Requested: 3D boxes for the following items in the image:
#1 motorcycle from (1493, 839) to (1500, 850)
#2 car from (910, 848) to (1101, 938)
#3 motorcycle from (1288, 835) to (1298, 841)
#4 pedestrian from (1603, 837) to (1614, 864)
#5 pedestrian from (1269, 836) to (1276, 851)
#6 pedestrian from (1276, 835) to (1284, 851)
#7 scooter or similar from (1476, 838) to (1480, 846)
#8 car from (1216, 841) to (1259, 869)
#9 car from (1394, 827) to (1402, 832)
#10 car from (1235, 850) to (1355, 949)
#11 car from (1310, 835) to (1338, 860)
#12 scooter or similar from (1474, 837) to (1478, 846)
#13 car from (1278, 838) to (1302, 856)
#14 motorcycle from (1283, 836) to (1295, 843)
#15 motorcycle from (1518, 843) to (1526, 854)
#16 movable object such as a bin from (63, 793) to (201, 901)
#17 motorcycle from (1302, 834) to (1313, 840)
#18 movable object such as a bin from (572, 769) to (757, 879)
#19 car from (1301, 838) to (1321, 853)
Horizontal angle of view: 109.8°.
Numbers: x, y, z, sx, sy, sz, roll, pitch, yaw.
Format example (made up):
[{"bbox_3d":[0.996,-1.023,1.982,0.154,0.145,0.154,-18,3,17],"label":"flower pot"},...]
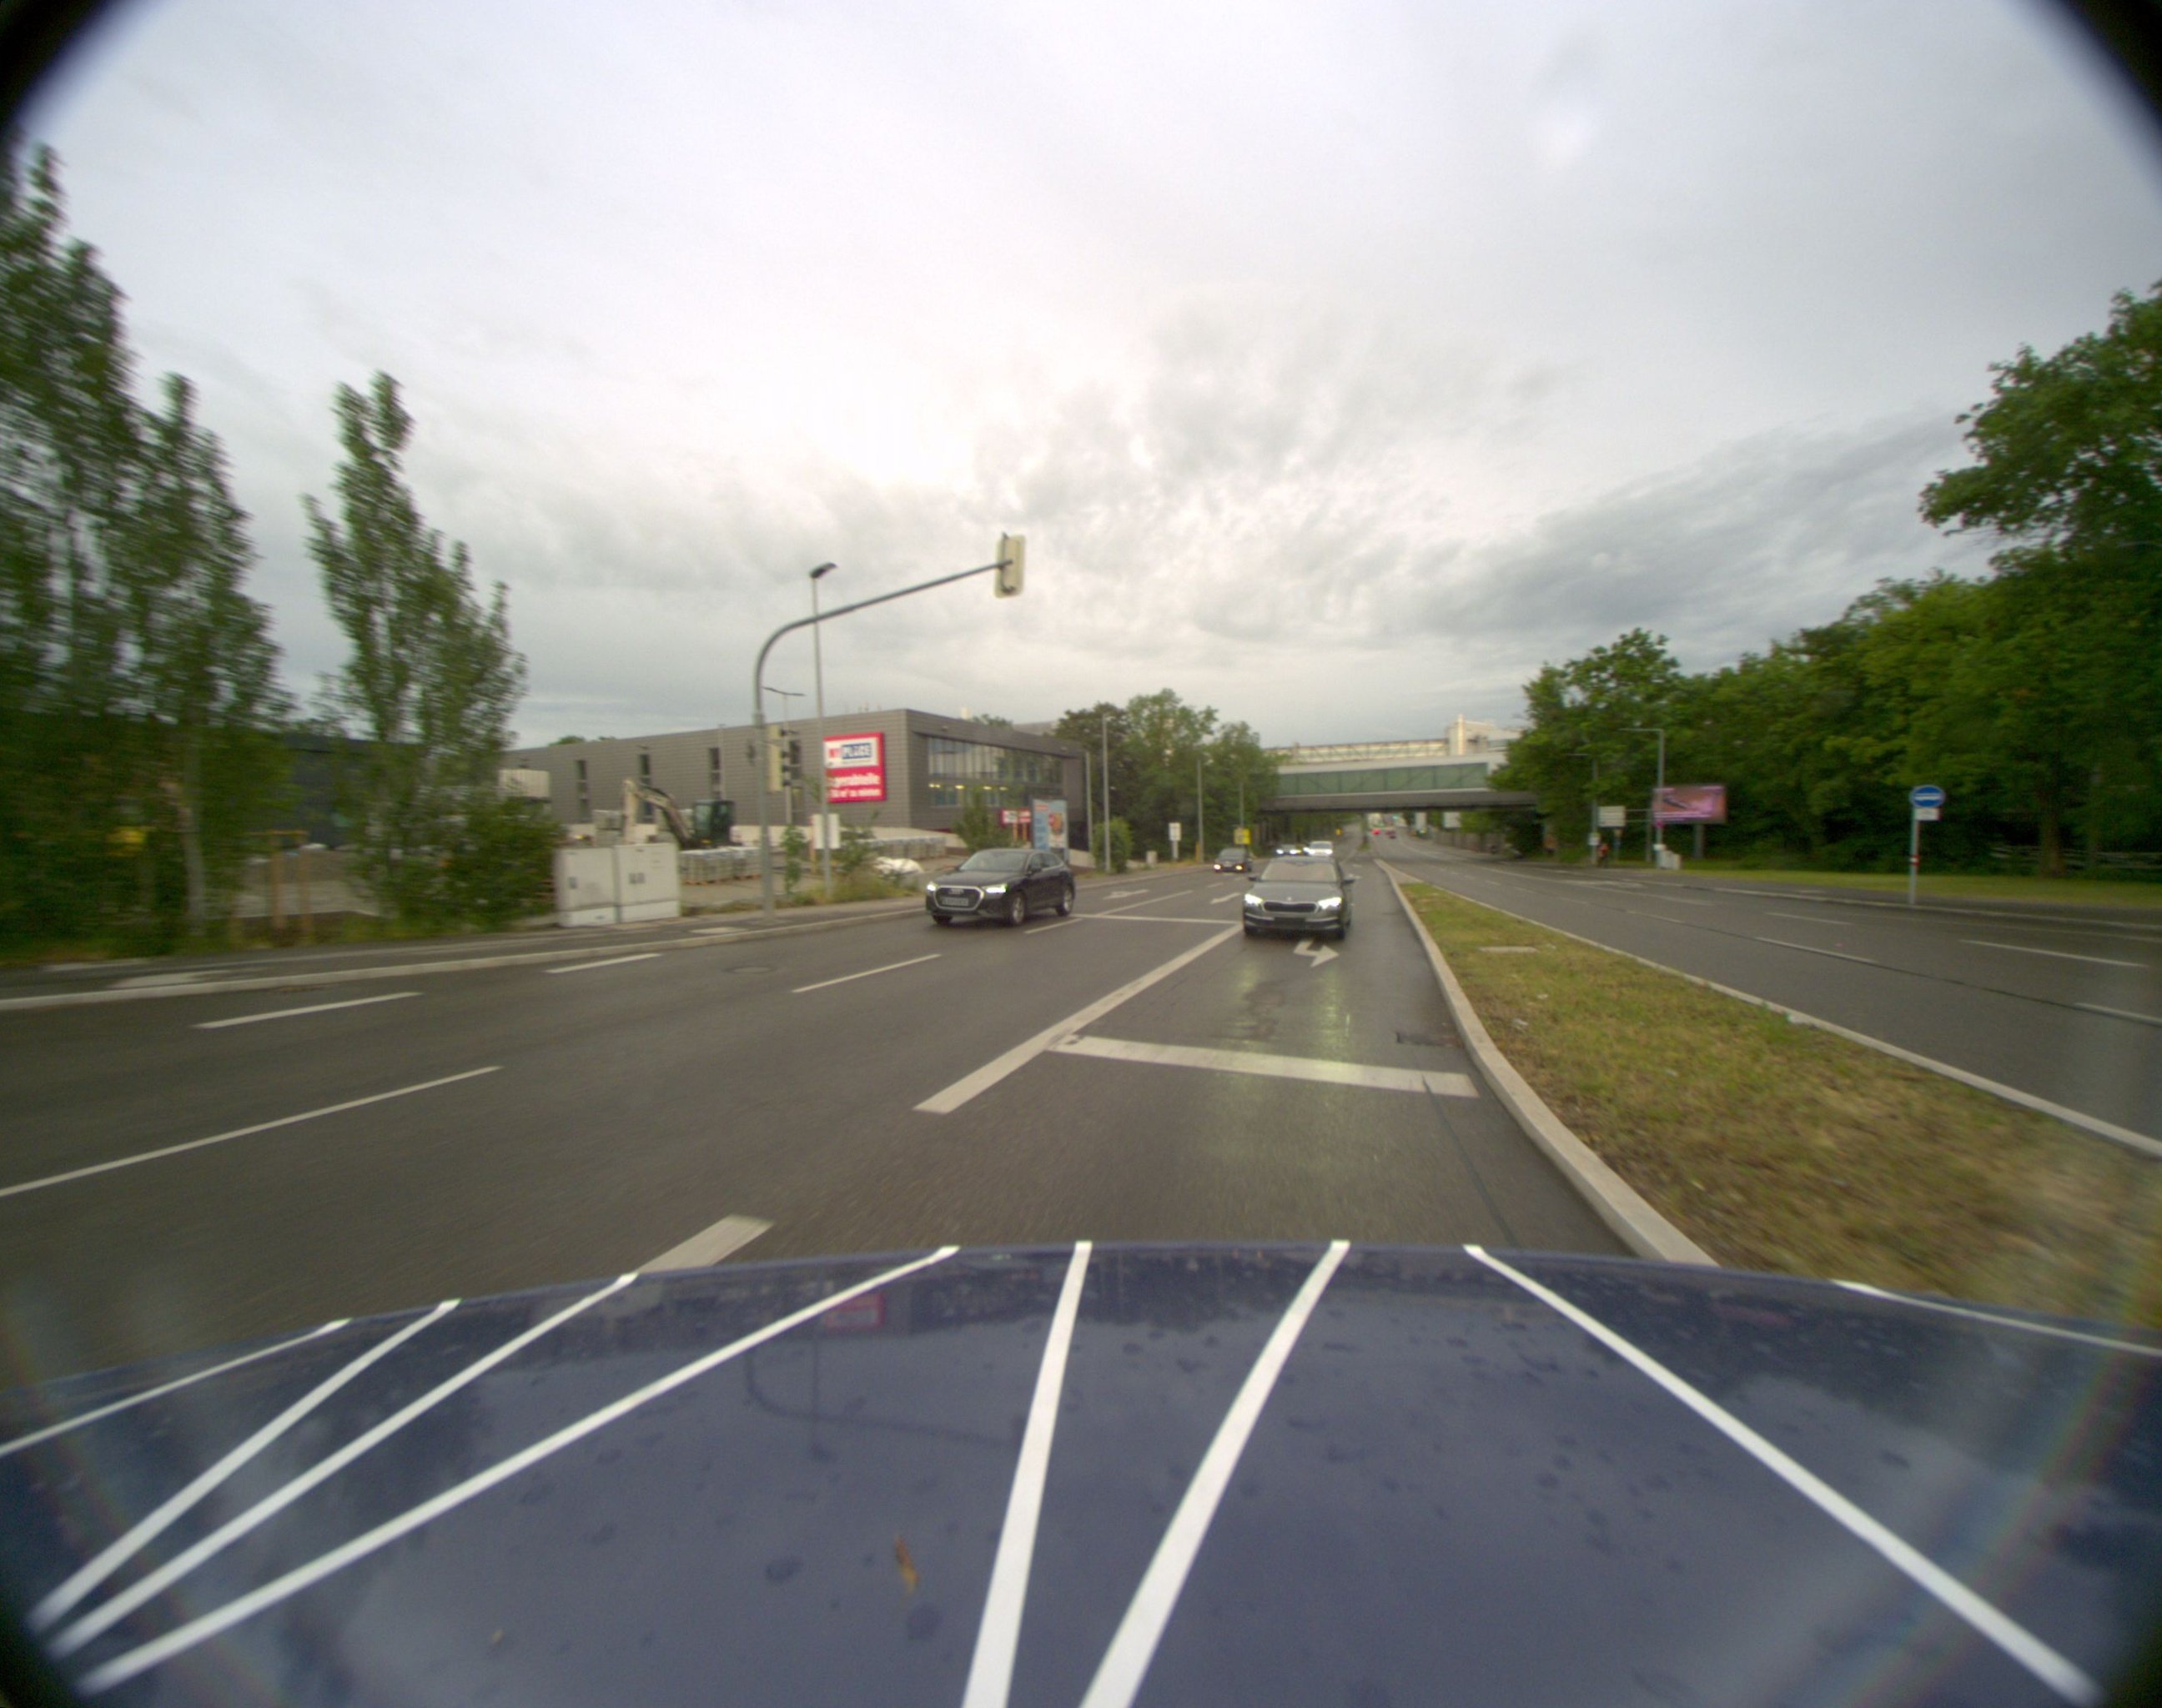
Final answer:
[{"bbox_3d":[50.610,-1.169,92.617,0.469,1.198,1.999,1,2,21],"label":"motorcycle"},{"bbox_3d":[-1.366,0.679,16.666,1.817,1.536,5.616,2,2,21],"label":"car"},{"bbox_3d":[38.501,-2.877,137.885,1.654,1.144,0.494,-1,3,29],"label":"motorcycle"},{"bbox_3d":[35.116,-0.236,50.568,0.520,1.806,0.800,0,2,31],"label":"pedestrian"},{"bbox_3d":[21.518,-1.192,85.395,0.651,1.587,0.579,2,3,33],"label":"pedestrian"},{"bbox_3d":[22.242,-1.223,85.019,0.611,1.712,0.893,2,3,31],"label":"pedestrian"},{"bbox_3d":[57.545,-1.746,110.123,0.311,1.211,1.310,2,3,33],"label":"scooter or similar"},{"bbox_3d":[9.454,0.049,45.657,1.746,1.423,4.522,-1,3,21],"label":"car"},{"bbox_3d":[95.330,-7.326,228.517,2.065,1.354,4.762,1,2,20],"label":"car"},{"bbox_3d":[4.258,0.729,14.695,1.817,1.536,4.069,2,2,21],"label":"car"},{"bbox_3d":[20.641,-0.585,64.518,2.032,1.921,4.337,0,3,21],"label":"car"},{"bbox_3d":[58.444,-1.833,112.398,0.311,1.211,1.309,1,3,21],"label":"scooter or similar"},{"bbox_3d":[20.544,-0.717,74.599,1.822,1.581,4.337,0,3,21],"label":"car"},{"bbox_3d":[35.237,-2.427,128.602,1.852,1.184,0.522,0,2,6],"label":"motorcycle"},{"bbox_3d":[44.841,-0.556,77.293,0.469,1.152,1.935,1,2,24],"label":"motorcycle"},{"bbox_3d":[-25.617,-0.191,20.679,4.965,2.604,1.904,0,1,43],"label":"movable object such as a bin"},{"bbox_3d":[46.576,-3.541,156.065,2.009,1.266,0.442,2,3,34],"label":"motorcycle"},{"bbox_3d":[-13.639,-0.914,25.421,2.305,3.257,5.429,0,1,13],"label":"movable object such as a bin"},{"bbox_3d":[26.212,-0.986,86.443,1.817,1.571,4.337,0,3,21],"label":"car"}]
